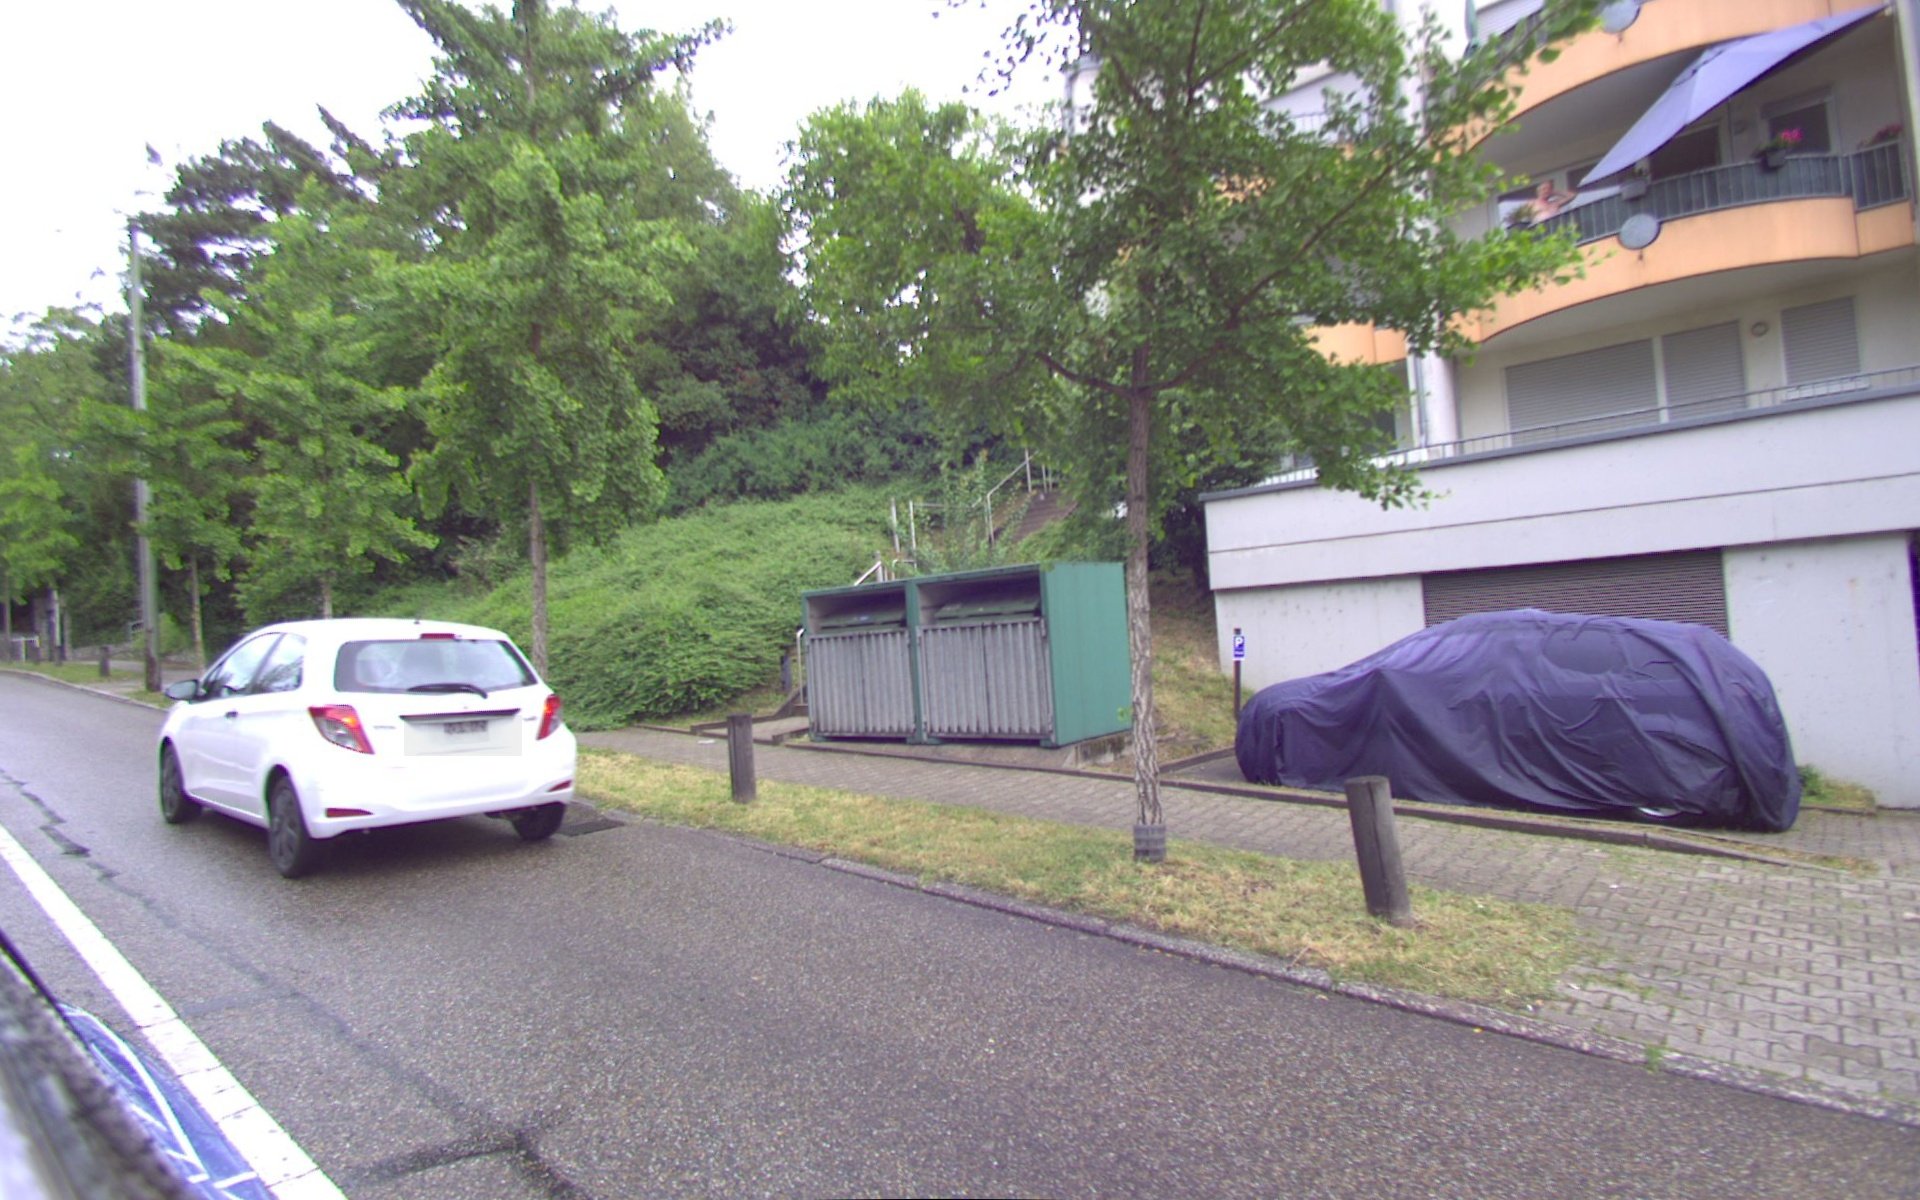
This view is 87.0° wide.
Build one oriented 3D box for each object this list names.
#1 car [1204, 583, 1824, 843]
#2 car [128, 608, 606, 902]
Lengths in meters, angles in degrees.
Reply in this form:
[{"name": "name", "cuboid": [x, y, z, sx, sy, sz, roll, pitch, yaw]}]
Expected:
[{"name": "car", "cuboid": [4.245, 0.772, 8.155, 4.095, 1.573, 1.759, -1, -4, 41]}, {"name": "car", "cuboid": [-4.353, 0.877, 7.218, 3.838, 1.543, 1.692, -1, -3, 39]}]
